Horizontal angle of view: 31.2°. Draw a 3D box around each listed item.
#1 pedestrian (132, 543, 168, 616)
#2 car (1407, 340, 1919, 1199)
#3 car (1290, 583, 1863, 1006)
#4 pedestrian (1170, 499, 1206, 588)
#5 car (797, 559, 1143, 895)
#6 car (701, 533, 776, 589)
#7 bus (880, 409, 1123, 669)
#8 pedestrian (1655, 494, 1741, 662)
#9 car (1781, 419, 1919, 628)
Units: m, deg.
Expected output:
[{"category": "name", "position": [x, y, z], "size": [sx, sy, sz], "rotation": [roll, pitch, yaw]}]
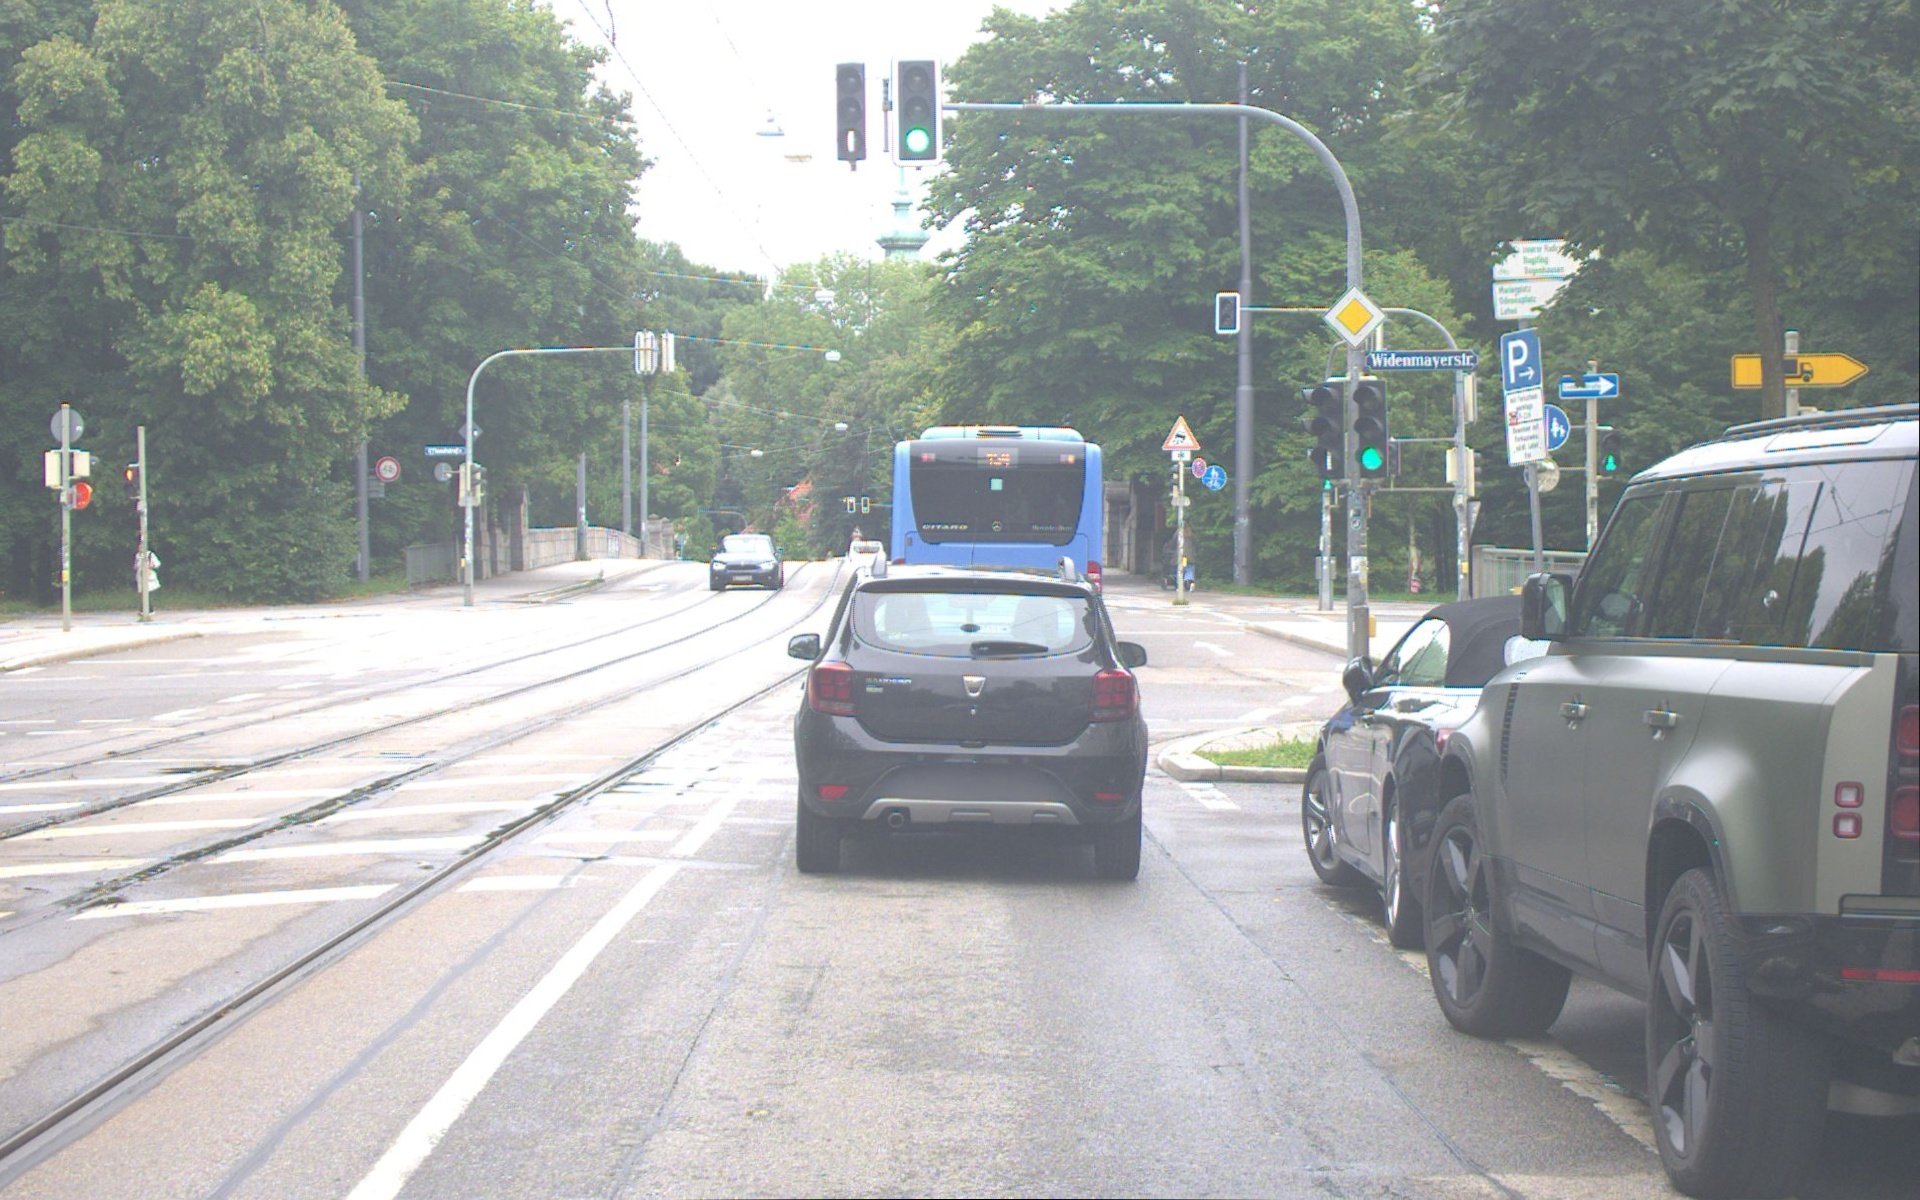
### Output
[{"category": "pedestrian", "position": [-16.819, -0.433, 71.381], "size": [0.532, 1.496, 0.588], "rotation": [1, 0, 4]}, {"category": "car", "position": [2.630, 0.426, 9.495], "size": [1.914, 1.899, 4.808], "rotation": [1, 0, -3]}, {"category": "car", "position": [2.577, 0.737, 15.373], "size": [1.714, 1.586, 4.327], "rotation": [1, 0, 0]}, {"category": "pedestrian", "position": [5.517, -1.361, 83.263], "size": [0.762, 2.109, 0.853], "rotation": [1, 0, 0]}, {"category": "car", "position": [0.017, 0.595, 18.033], "size": [1.600, 1.551, 3.525], "rotation": [1, 0, -1]}, {"category": "car", "position": [-5.748, -1.004, 89.447], "size": [1.787, 1.365, 3.400], "rotation": [1, 0, -2]}, {"category": "bus", "position": [0.413, -0.738, 43.925], "size": [2.678, 2.987, 6.961], "rotation": [1, 0, -2]}, {"category": "pedestrian", "position": [8.985, -0.272, 41.868], "size": [0.830, 2.007, 0.780], "rotation": [1, 0, 0]}, {"category": "car", "position": [13.585, -0.919, 44.474], "size": [5.295, 2.604, 2.231], "rotation": [1, 0, -3]}]
